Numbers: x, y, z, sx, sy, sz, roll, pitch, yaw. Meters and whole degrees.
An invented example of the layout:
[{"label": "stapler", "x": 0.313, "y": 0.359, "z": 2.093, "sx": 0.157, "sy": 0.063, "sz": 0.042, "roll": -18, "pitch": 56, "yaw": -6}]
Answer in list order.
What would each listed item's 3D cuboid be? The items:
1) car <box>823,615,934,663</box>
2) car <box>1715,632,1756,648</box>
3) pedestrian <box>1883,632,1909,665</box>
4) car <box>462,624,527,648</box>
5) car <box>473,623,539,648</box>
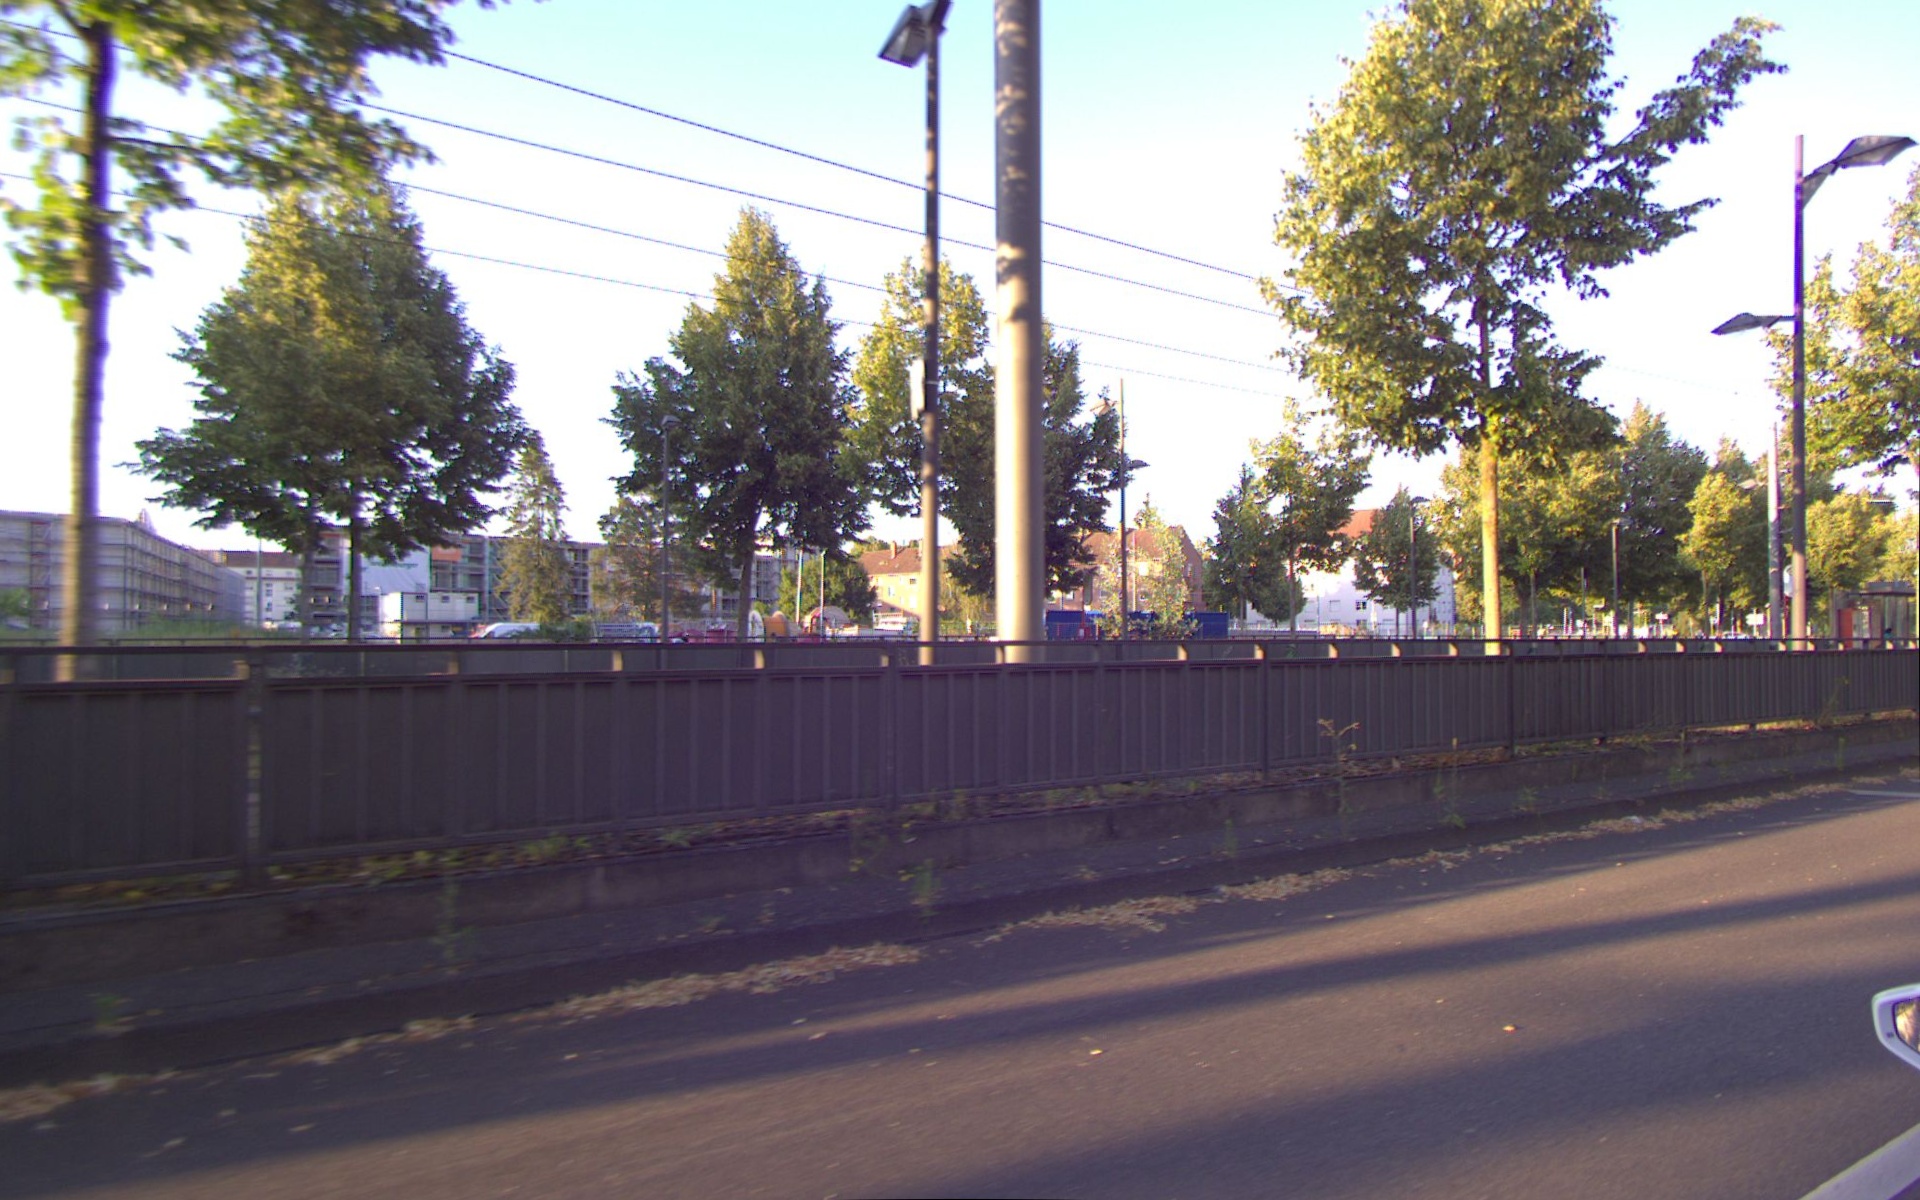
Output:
[{"label": "car", "x": -4.033, "y": 1.962, "z": 51.035, "sx": 2.384, "sy": 2.254, "sz": 5.897, "roll": -1, "pitch": -2, "yaw": 36}, {"label": "car", "x": 81.316, "y": 4.205, "z": 105.319, "sx": 3.953, "sy": 1.684, "sz": 1.984, "roll": 1, "pitch": -2, "yaw": -30}, {"label": "pedestrian", "x": 38.808, "y": 2.016, "z": 41.655, "sx": 0.737, "sy": 1.337, "sz": 0.611, "roll": 1, "pitch": -2, "yaw": -33}, {"label": "car", "x": -40.466, "y": 3.110, "z": 87.332, "sx": 4.736, "sy": 2.040, "sz": 1.976, "roll": 2, "pitch": -2, "yaw": -42}, {"label": "car", "x": -38.050, "y": 2.973, "z": 84.276, "sx": 4.760, "sy": 2.040, "sz": 1.979, "roll": 1, "pitch": -2, "yaw": -37}]
